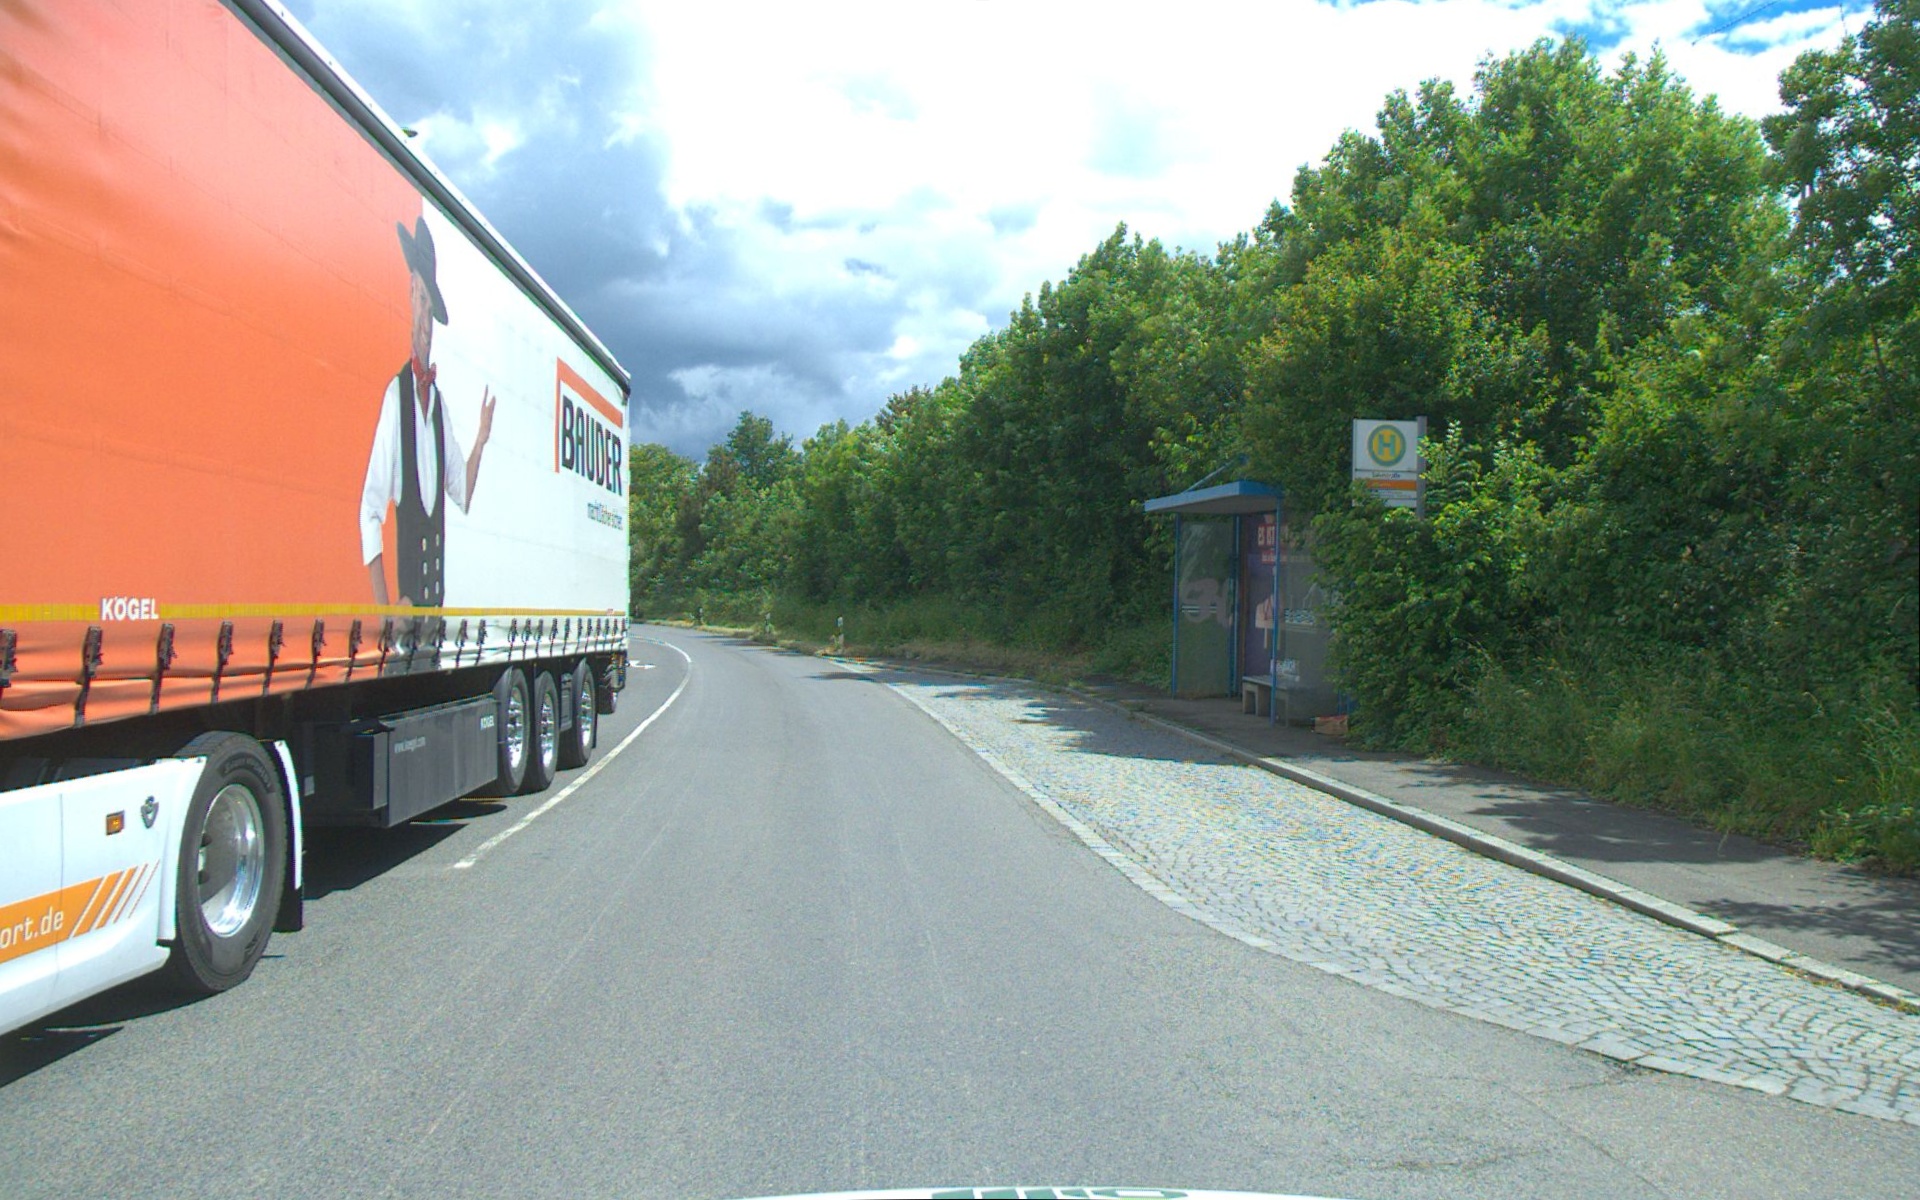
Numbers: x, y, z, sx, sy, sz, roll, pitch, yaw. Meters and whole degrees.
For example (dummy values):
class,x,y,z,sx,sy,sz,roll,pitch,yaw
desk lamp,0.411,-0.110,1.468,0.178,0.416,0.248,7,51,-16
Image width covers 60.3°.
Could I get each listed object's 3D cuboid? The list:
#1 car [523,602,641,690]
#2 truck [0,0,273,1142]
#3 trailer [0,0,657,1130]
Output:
class,x,y,z,sx,sy,sz,roll,pitch,yaw
car,-6.898,0.794,30.515,1.805,1.489,4.244,-1,0,-9
truck,-3.926,-0.629,3.892,2.716,4.191,4.982,1,-1,-4
trailer,-4.443,-0.636,11.701,2.716,4.217,15.338,1,0,-4
